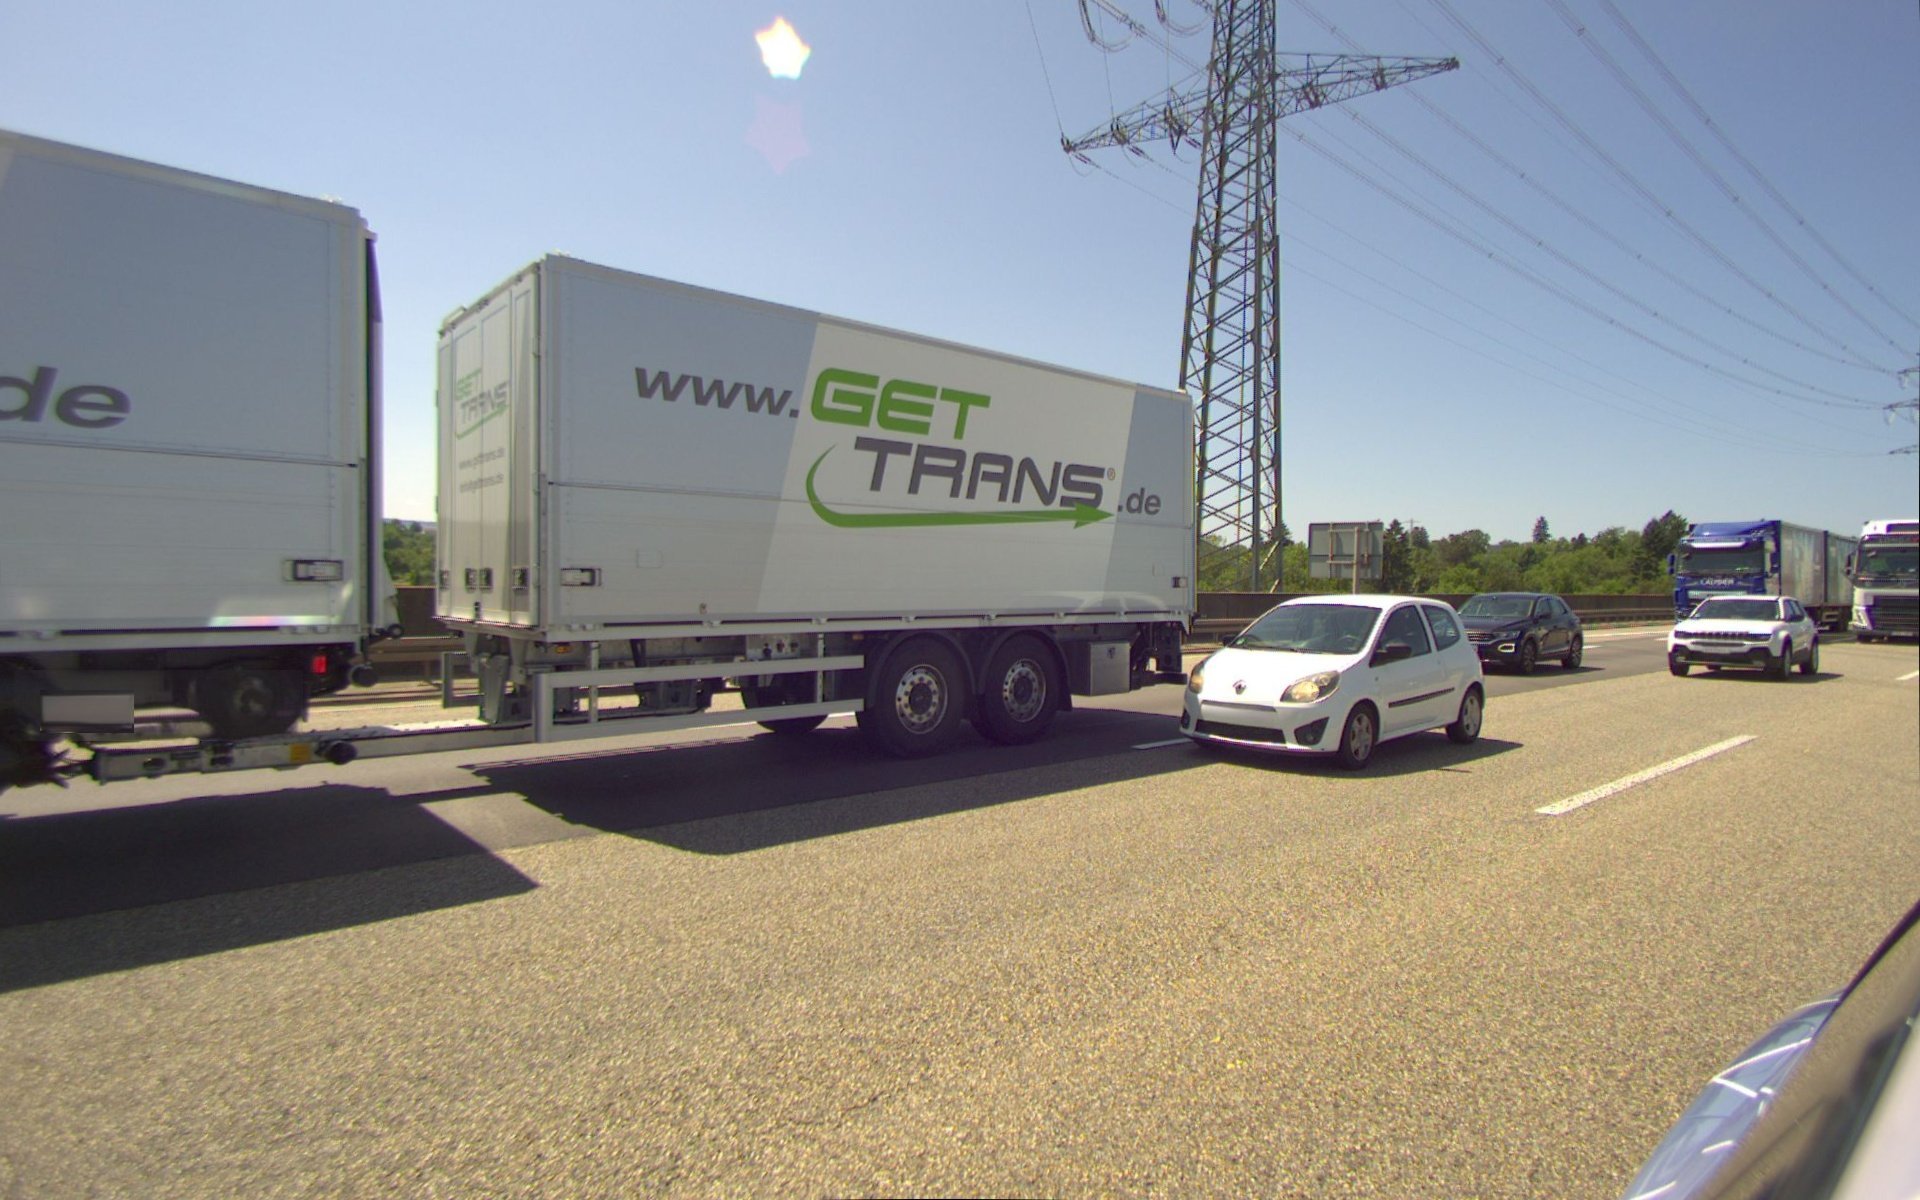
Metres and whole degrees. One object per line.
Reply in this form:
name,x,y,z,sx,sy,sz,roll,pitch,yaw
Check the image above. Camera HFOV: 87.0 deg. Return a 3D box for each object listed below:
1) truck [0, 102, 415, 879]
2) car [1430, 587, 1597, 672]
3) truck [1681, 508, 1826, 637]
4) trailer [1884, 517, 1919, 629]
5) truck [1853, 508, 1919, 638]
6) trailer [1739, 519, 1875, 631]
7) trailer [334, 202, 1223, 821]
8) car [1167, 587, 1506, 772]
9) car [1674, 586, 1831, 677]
truck,-8.084,-0.474,3.483,10.583,3.648,2.855,-1,0,-42
car,11.072,0.512,20.147,3.820,1.524,1.708,0,1,-41
truck,27.520,-0.885,34.961,7.788,4.018,2.515,0,0,-41
trailer,37.641,-1.010,38.292,9.605,3.918,2.895,-1,0,-41
truck,31.535,-0.866,32.927,6.624,3.941,2.911,-1,0,-41
trailer,34.496,-0.981,41.015,10.696,4.044,2.541,-1,0,-41
trailer,-1.031,-0.544,9.729,8.148,3.640,2.849,0,0,-41
car,3.733,0.605,9.770,3.566,1.458,1.582,0,1,-41
car,15.119,0.522,19.246,3.688,1.554,1.720,0,1,-41
